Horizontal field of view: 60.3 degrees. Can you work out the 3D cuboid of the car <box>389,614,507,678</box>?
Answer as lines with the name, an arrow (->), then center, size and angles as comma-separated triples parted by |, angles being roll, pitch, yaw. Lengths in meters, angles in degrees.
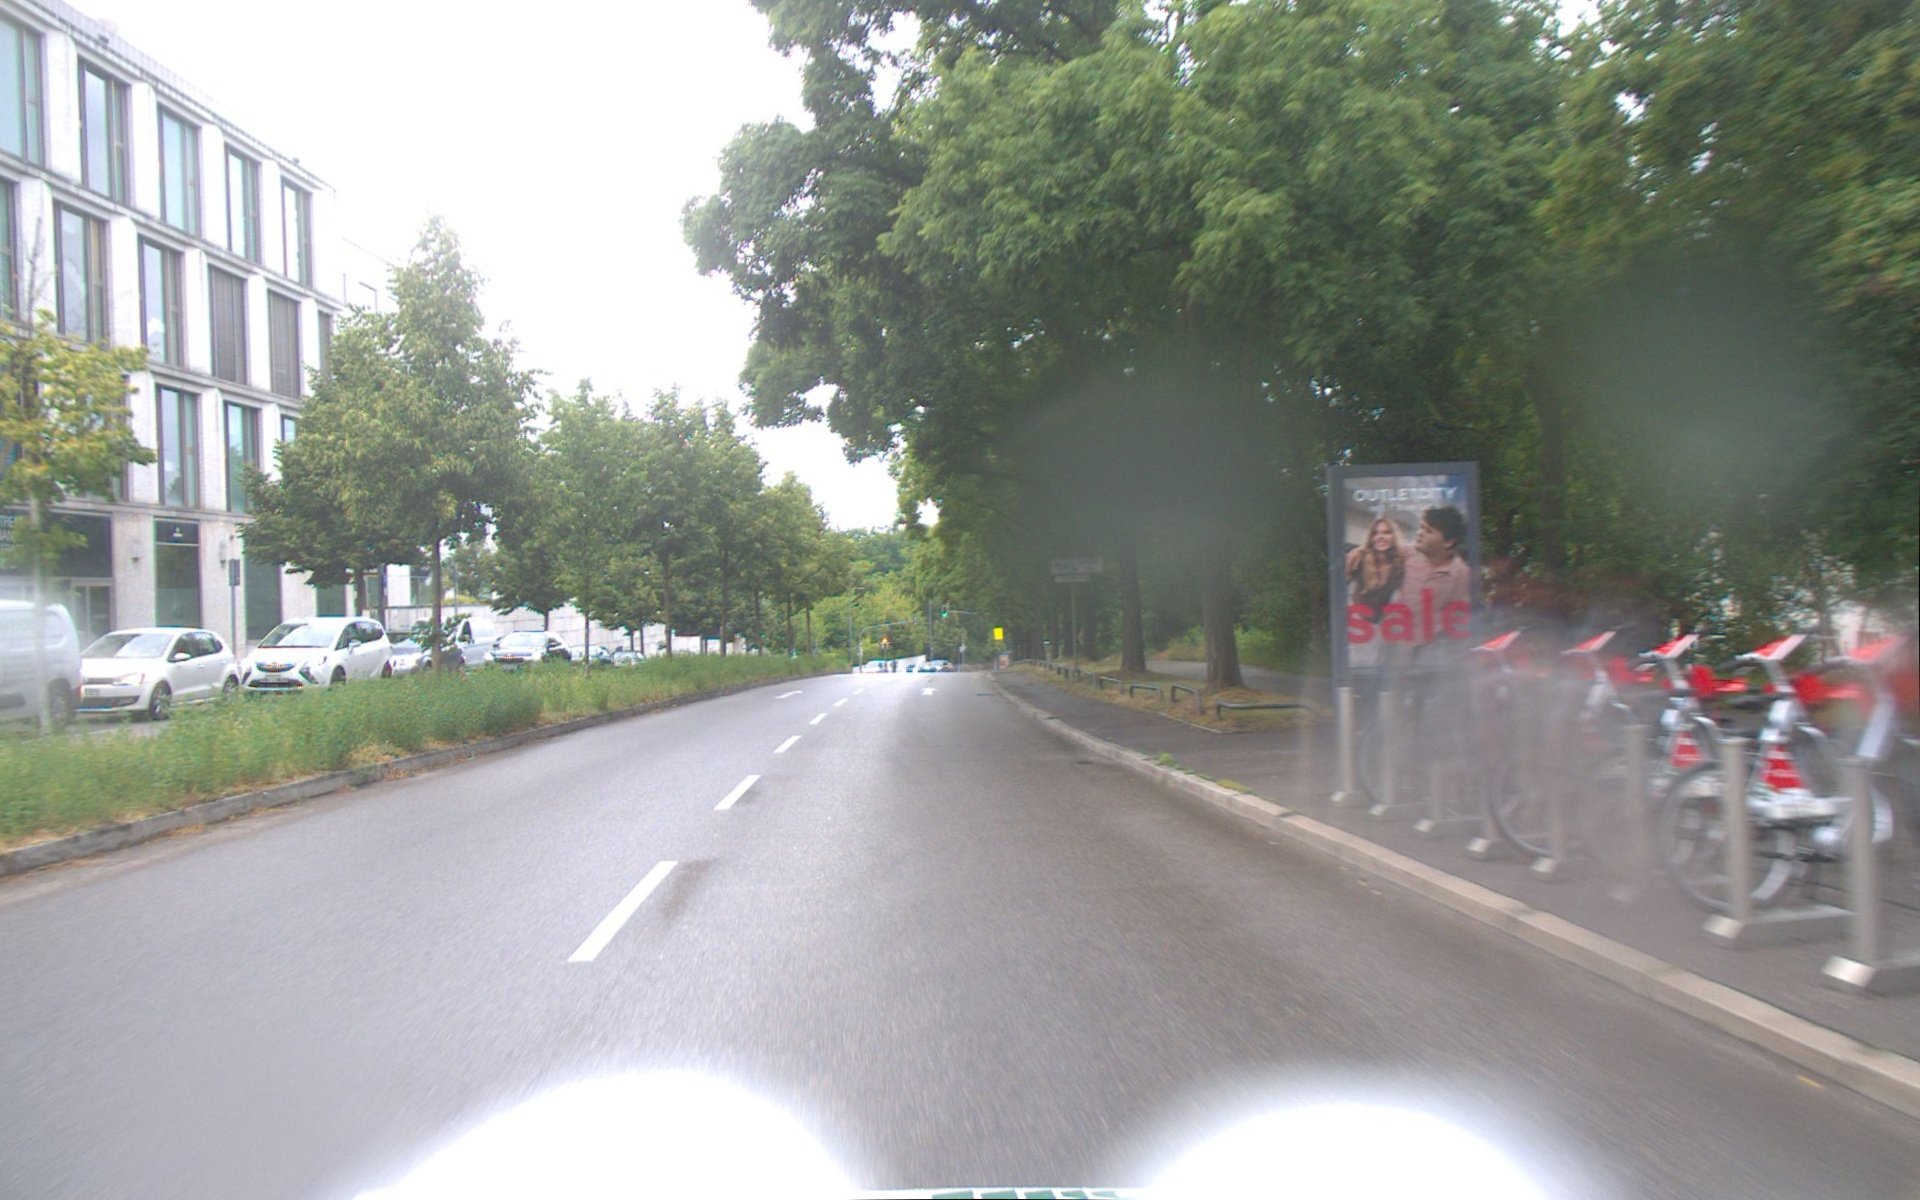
car -> -15.818, 1.427, 51.417 | 2.079, 1.848, 5.258 | -1, -2, -1

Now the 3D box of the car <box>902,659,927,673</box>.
car -> -5.096, 7.452, 186.843 | 1.733, 1.405, 4.193 | -4, -3, 14

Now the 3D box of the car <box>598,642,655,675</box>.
car -> -15.477, 2.702, 76.938 | 1.659, 1.470, 3.860 | -2, -1, 2

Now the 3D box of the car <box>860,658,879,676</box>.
car -> -9.487, 7.000, 173.707 | 1.675, 1.777, 4.336 | -2, -2, -1

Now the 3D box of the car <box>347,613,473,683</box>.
car -> -13.145, 1.110, 39.774 | 1.607, 1.435, 3.997 | -3, 1, 1

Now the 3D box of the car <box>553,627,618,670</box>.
car -> -15.435, 1.963, 68.321 | 1.660, 1.609, 4.018 | -1, 0, 1

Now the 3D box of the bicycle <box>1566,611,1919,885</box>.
bicycle -> 3.805, 0.693, 8.024 | 1.457, 1.151, 0.556 | -4, -1, -7

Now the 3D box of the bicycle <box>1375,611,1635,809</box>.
bicycle -> 3.593, 0.711, 10.947 | 1.457, 1.151, 0.556 | -4, -1, -7

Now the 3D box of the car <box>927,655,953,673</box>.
car -> -2.315, 7.584, 196.750 | 1.880, 1.889, 4.509 | -6, -3, 13

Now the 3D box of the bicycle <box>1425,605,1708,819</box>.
bicycle -> 3.697, 0.666, 10.127 | 1.457, 1.151, 0.556 | -4, -1, -7

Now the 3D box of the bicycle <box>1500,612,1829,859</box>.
bicycle -> 3.736, 0.699, 8.824 | 1.457, 1.151, 0.556 | -4, -1, -7

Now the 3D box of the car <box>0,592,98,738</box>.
car -> -13.198, 0.854, 21.137 | 1.805, 1.833, 4.773 | 0, 1, 1

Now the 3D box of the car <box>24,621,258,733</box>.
car -> -13.252, 1.191, 27.058 | 1.708, 1.493, 4.061 | -3, 1, 1

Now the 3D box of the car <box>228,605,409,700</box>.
car -> -13.066, 1.013, 34.030 | 1.791, 1.628, 4.675 | -3, 1, 1

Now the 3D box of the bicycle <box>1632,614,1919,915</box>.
bicycle -> 3.833, 0.689, 7.280 | 1.457, 1.151, 0.556 | -4, -1, -7

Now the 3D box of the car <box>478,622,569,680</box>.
car -> -13.158, 1.518, 50.041 | 1.660, 1.609, 4.017 | -1, 0, 0
